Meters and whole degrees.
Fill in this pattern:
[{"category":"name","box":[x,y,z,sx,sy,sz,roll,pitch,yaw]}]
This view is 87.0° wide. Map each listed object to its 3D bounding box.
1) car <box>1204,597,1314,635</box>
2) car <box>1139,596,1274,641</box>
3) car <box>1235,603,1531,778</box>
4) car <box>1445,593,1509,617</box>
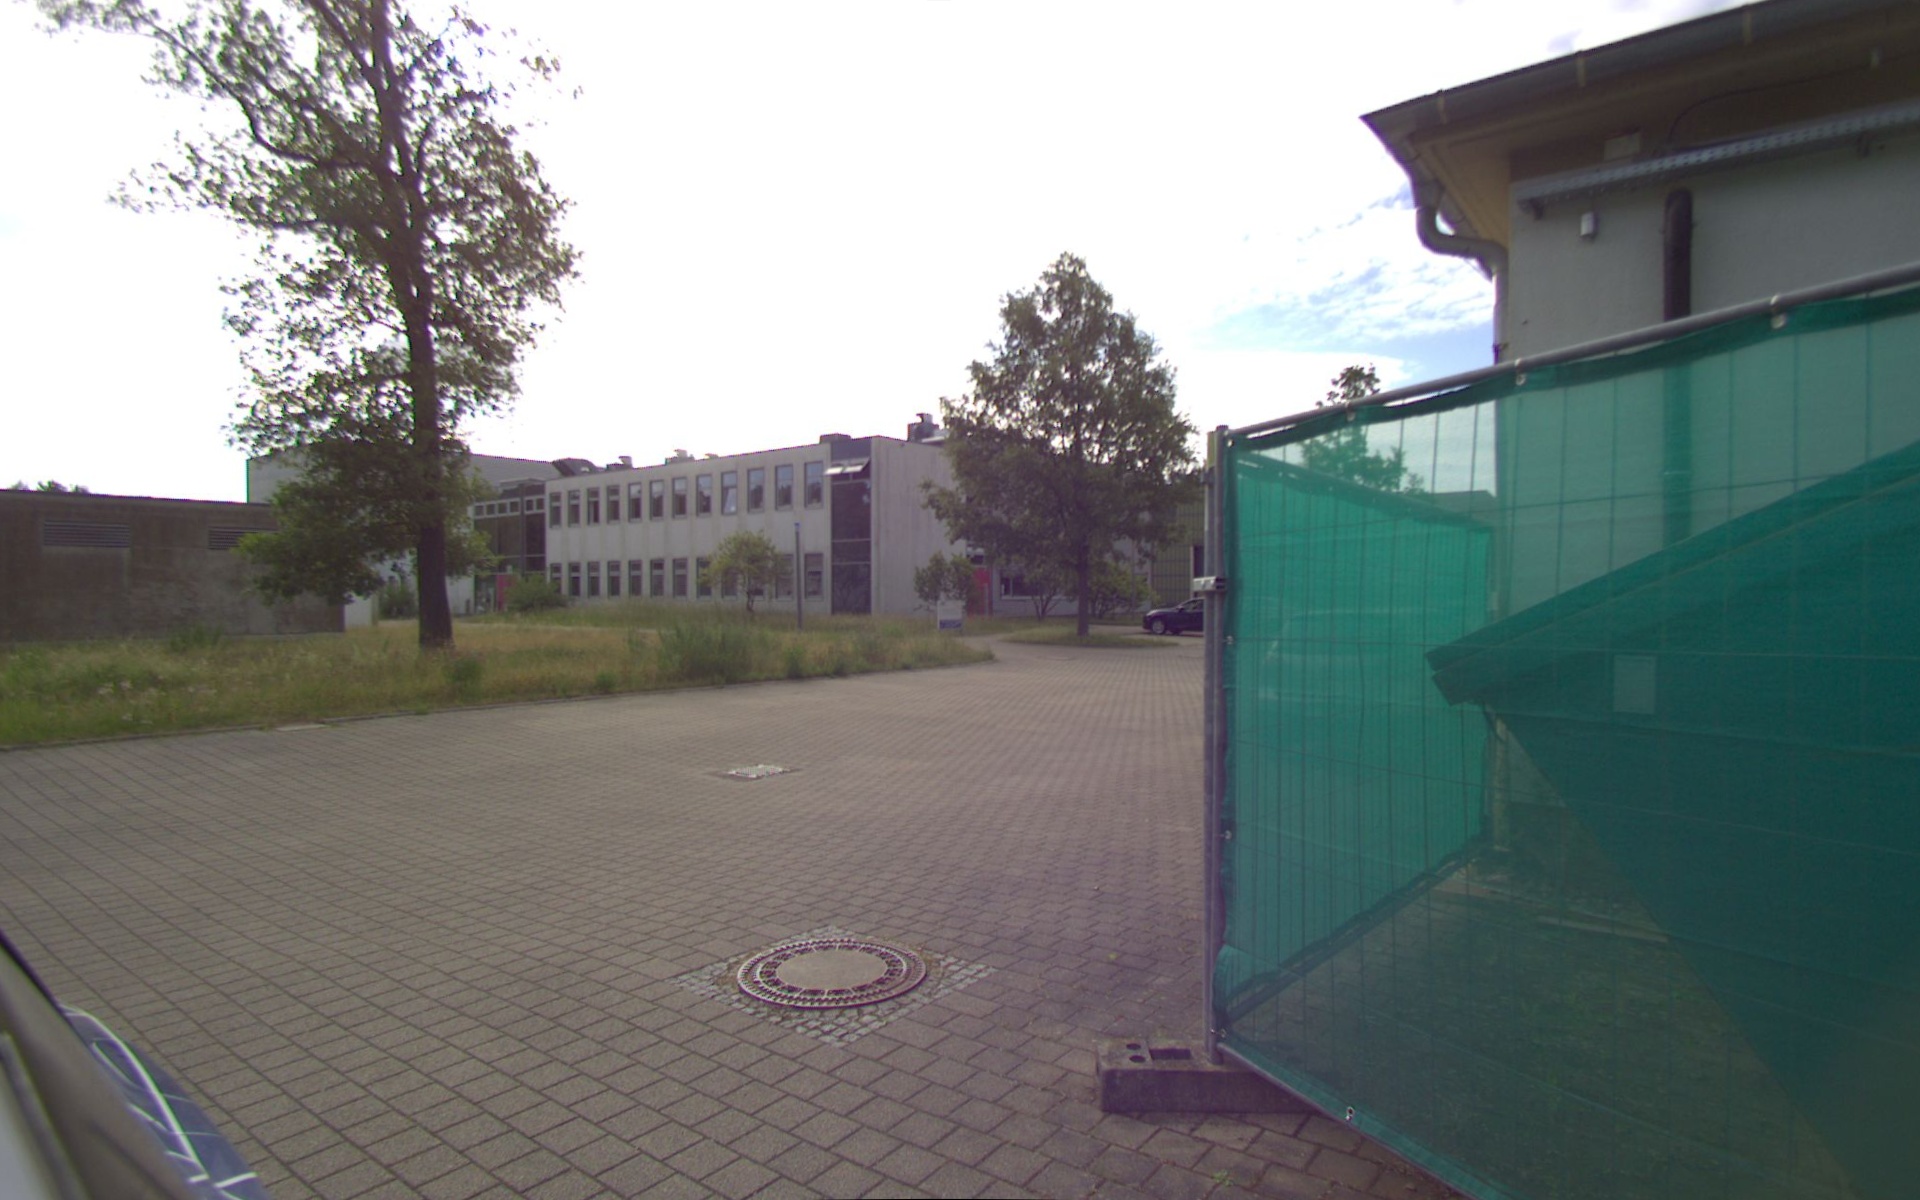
[{"category":"car","box":[12.295,0.626,41.688,3.983,1.477,1.859,1,1,38]},{"category":"car","box":[9.114,0.640,37.619,4.472,1.458,1.919,2,1,38]},{"category":"car","box":[4.683,0.783,10.802,1.927,1.450,4.314,-2,-1,36]},{"category":"car","box":[39.851,0.358,78.051,4.126,1.637,1.916,2,2,36]}]
